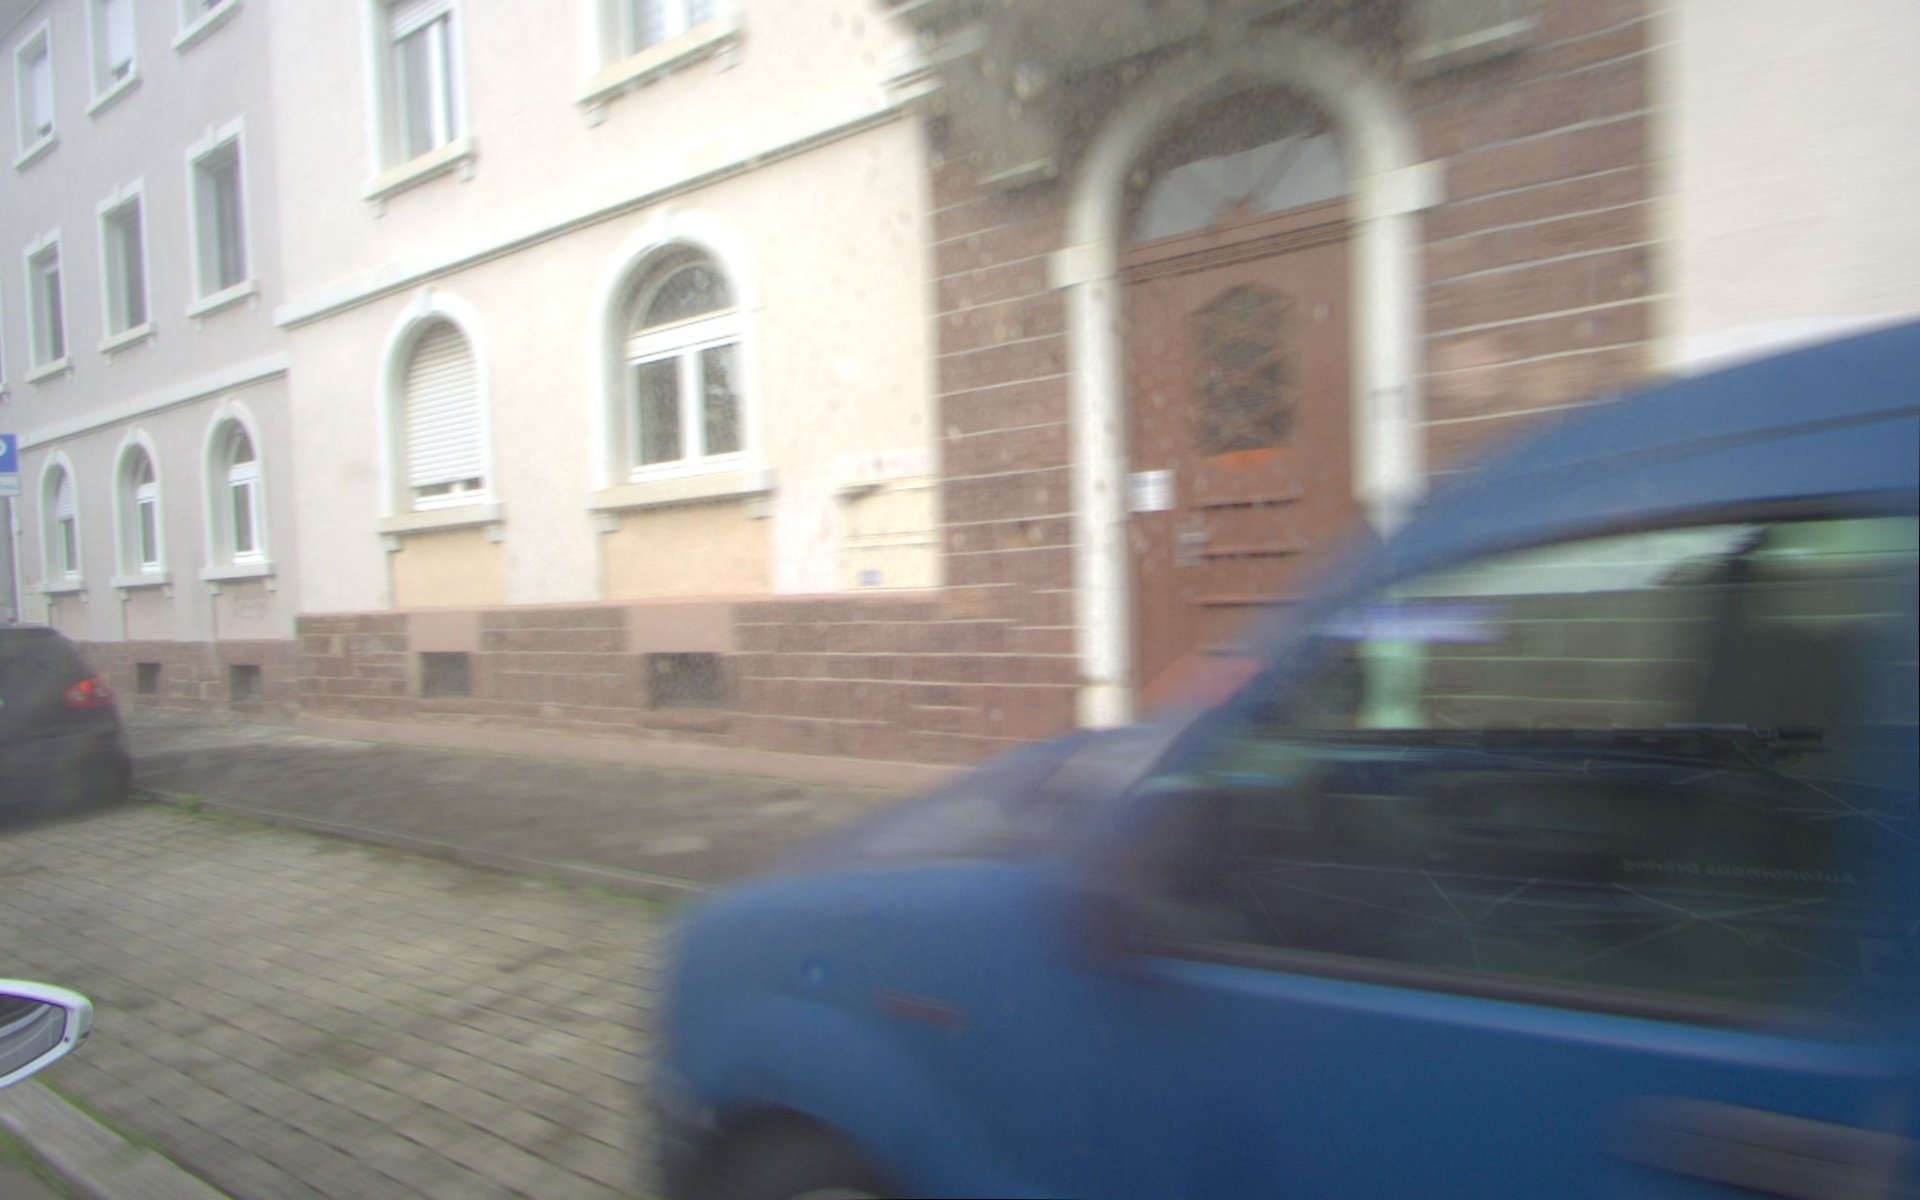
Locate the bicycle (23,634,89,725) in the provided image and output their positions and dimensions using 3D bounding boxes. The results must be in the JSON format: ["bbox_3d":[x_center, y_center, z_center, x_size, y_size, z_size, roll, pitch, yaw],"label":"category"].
[{"bbox_3d":[-12.528,1.090,13.871,1.139,1.198,0.318,-2,1,30],"label":"bicycle"}]

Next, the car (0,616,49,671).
[{"bbox_3d":[-31.839,1.417,33.253,4.022,1.720,1.900,0,1,41],"label":"car"}]

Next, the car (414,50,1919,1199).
[{"bbox_3d":[1.243,0.437,1.655,4.127,1.809,1.933,-2,2,32],"label":"car"}]

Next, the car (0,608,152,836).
[{"bbox_3d":[-8.320,0.885,7.842,4.480,1.474,1.683,-1,3,32],"label":"car"}]
